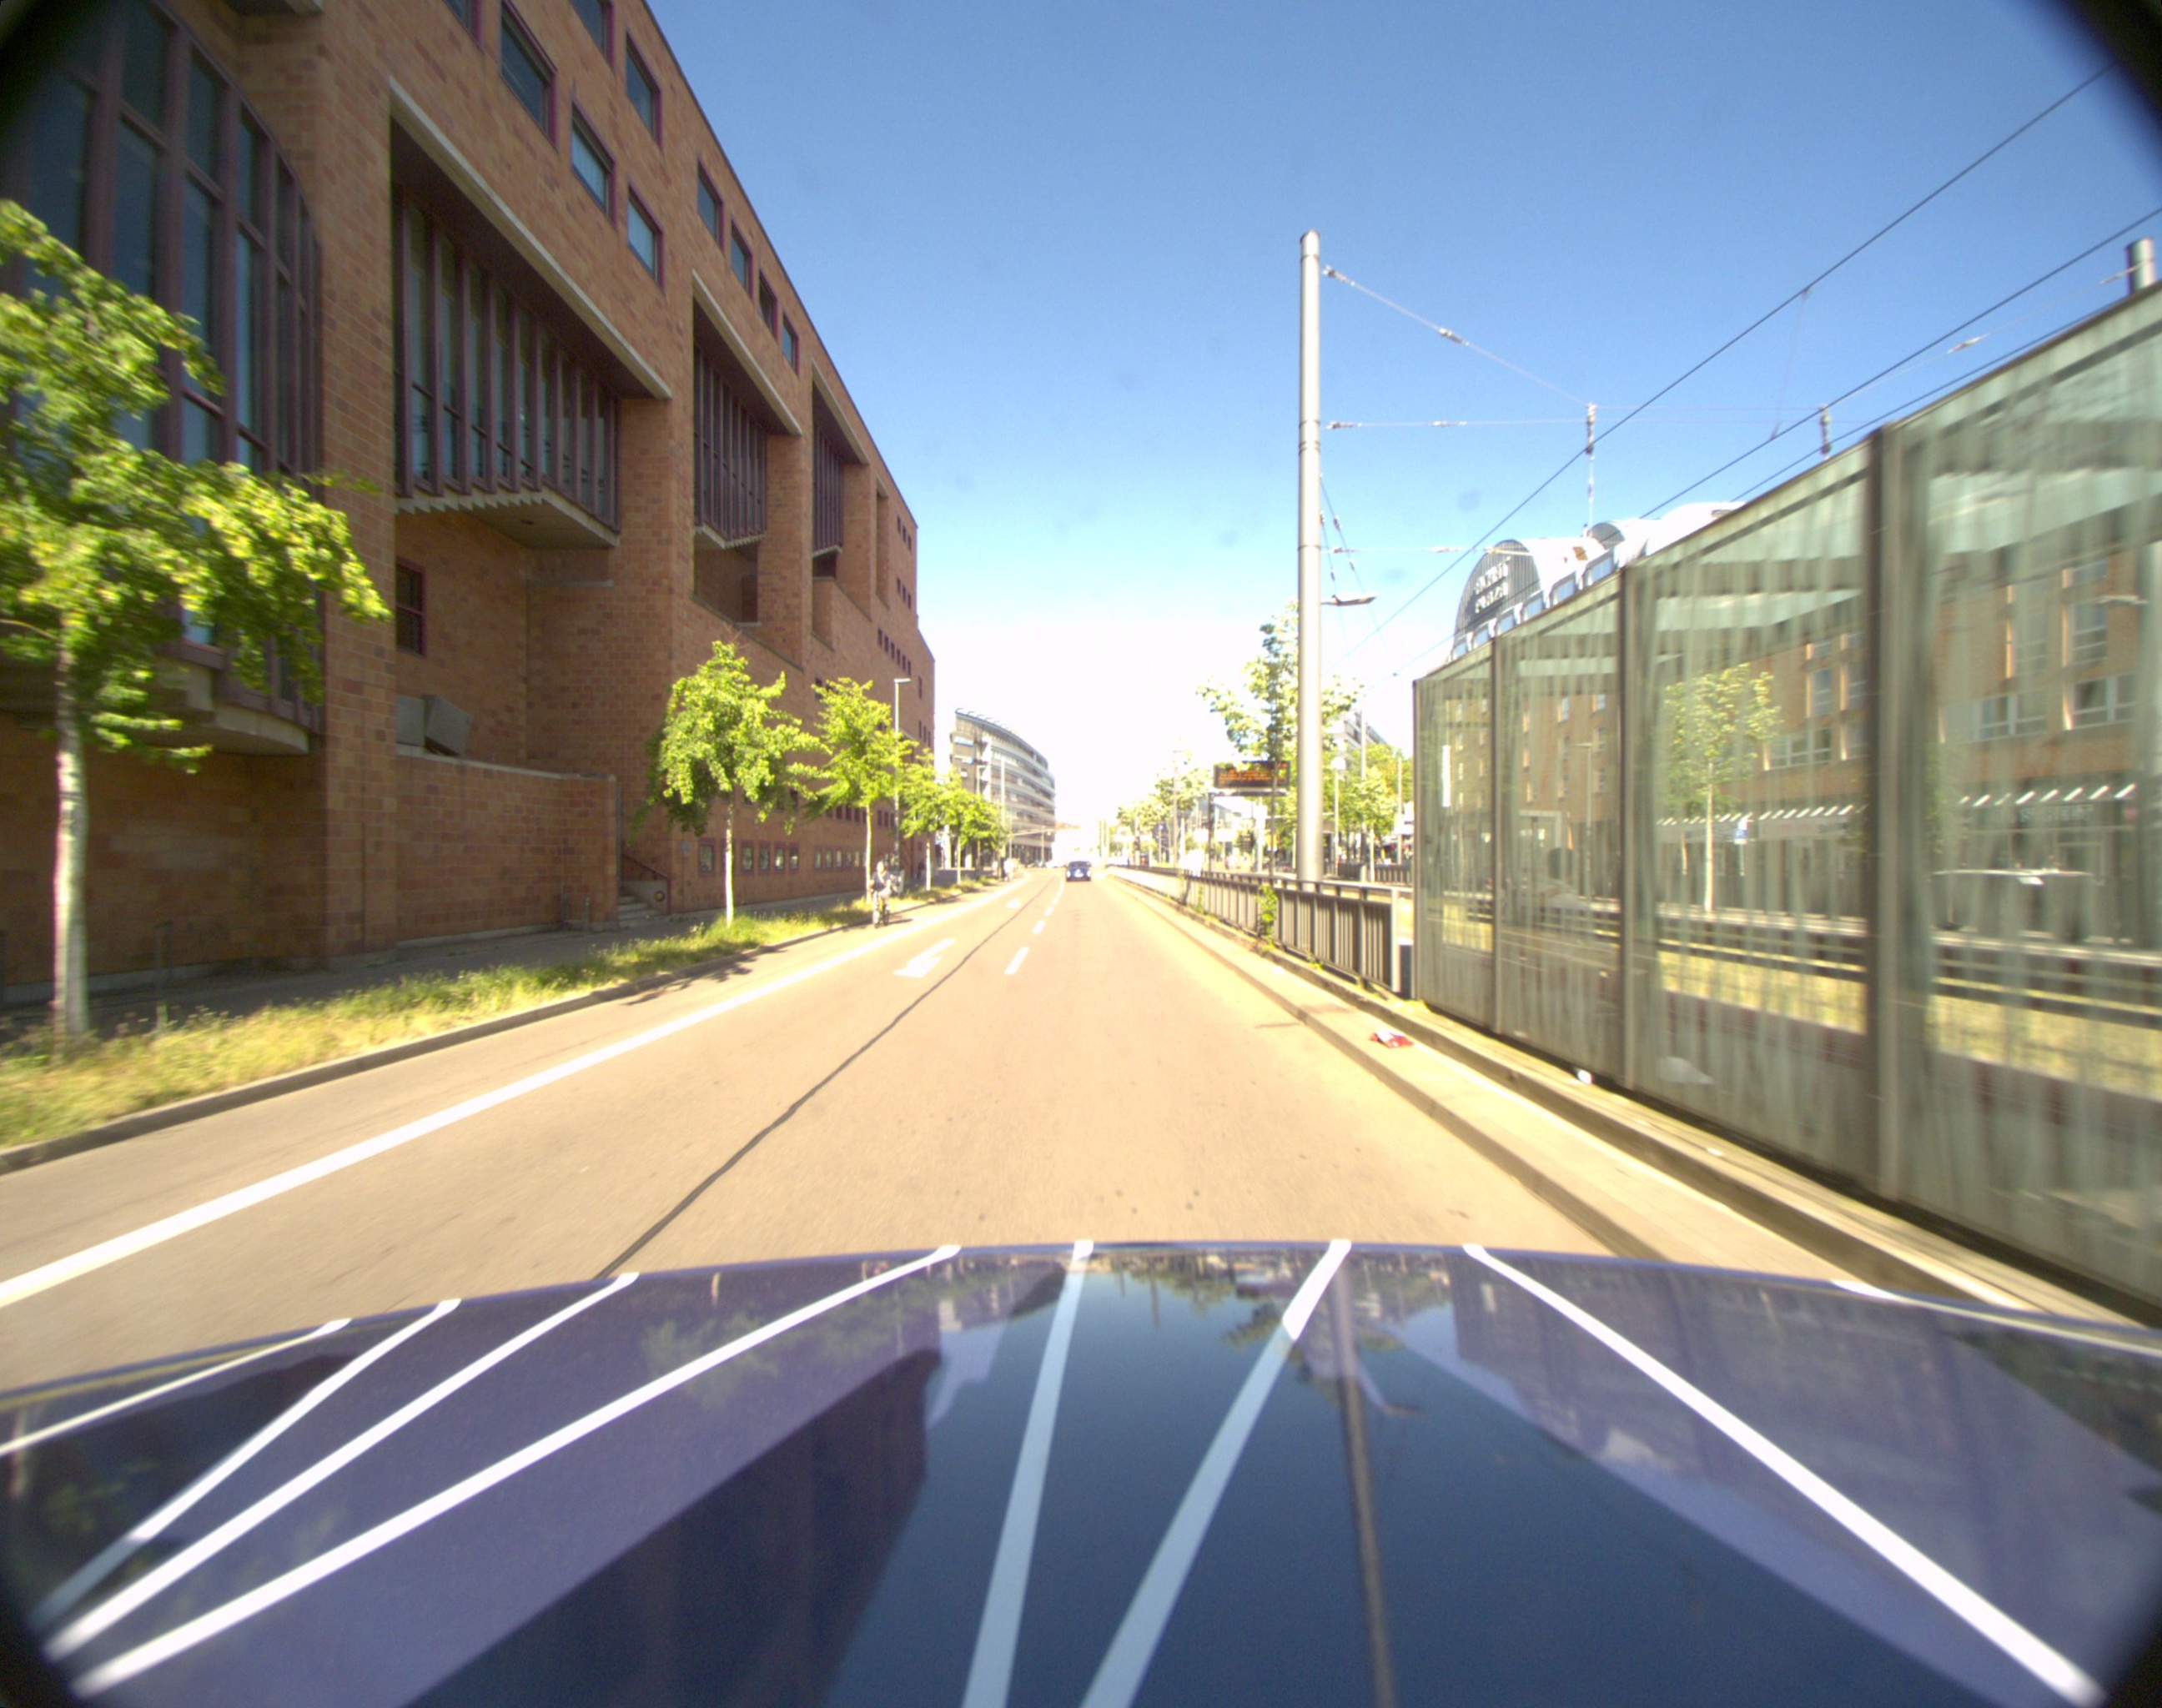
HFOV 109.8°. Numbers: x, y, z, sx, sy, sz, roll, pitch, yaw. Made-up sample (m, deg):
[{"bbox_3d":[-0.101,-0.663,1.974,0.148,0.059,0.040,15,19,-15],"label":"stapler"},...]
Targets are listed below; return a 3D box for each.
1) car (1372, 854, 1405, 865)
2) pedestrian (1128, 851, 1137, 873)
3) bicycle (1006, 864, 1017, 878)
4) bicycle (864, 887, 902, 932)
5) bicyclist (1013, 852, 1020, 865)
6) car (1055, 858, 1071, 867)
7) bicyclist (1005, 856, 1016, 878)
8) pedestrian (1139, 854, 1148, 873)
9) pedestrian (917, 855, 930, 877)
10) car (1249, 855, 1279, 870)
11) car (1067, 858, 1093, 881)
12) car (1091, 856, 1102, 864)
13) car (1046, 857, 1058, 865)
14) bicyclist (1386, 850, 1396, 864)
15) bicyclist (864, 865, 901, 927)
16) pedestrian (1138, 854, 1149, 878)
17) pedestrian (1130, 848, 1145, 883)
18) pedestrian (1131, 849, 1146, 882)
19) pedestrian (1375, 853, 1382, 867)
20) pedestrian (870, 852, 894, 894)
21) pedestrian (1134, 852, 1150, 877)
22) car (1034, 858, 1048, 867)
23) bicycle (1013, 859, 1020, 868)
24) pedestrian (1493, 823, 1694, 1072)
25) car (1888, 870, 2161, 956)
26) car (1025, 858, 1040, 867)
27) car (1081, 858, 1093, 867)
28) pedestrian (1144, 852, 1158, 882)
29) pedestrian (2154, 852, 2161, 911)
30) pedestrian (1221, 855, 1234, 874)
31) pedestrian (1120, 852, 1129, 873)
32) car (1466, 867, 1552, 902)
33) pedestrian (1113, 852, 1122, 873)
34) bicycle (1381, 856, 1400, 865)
[{"bbox_3d":[45.329,0.806,112.003,4.169,1.499,1.910,0,0,3],"label":"car"},{"bbox_3d":[4.236,0.676,62.272,0.649,1.763,0.820,0,1,-3],"label":"pedestrian"},{"bbox_3d":[-5.535,1.332,60.514,0.578,1.090,1.507,-2,0,2],"label":"bicycle"},{"bbox_3d":[-5.077,1.401,19.554,0.559,1.021,1.507,-2,0,0],"label":"bicycle"},{"bbox_3d":[-7.699,0.533,90.615,0.755,1.607,0.762,-2,0,3],"label":"bicyclist"},{"bbox_3d":[-3.223,1.457,136.761,2.120,1.547,4.003,0,0,9],"label":"car"},{"bbox_3d":[-5.568,1.009,60.335,0.684,1.718,0.909,-2,0,3],"label":"bicyclist"},{"bbox_3d":[5.096,0.764,62.244,0.610,1.560,0.908,0,1,-3],"label":"pedestrian"},{"bbox_3d":[-11.707,0.918,56.530,0.790,1.610,0.976,0,1,-2],"label":"pedestrian"},{"bbox_3d":[17.833,0.815,74.324,1.936,1.489,4.289,0,0,1],"label":"car"},{"bbox_3d":[-0.059,1.123,56.549,1.802,1.596,3.999,-2,1,0],"label":"car"},{"bbox_3d":[3.251,1.153,155.632,1.882,1.455,4.001,-2,1,7],"label":"car"},{"bbox_3d":[-5.853,1.452,153.547,1.882,1.455,4.001,-2,1,7],"label":"car"},{"bbox_3d":[35.174,0.307,86.249,0.848,1.630,0.779,0,1,10],"label":"bicyclist"},{"bbox_3d":[-5.103,1.056,19.588,0.659,1.528,0.909,-2,0,0],"label":"bicyclist"},{"bbox_3d":[4.670,0.915,56.966,0.756,1.800,0.840,0,1,-4],"label":"pedestrian"},{"bbox_3d":[3.051,0.596,41.219,0.748,1.873,0.715,0,1,0],"label":"pedestrian"},{"bbox_3d":[3.037,0.605,40.473,0.748,1.738,0.715,0,1,0],"label":"pedestrian"},{"bbox_3d":[35.481,0.689,90.652,0.645,1.696,0.728,0,1,4],"label":"pedestrian"},{"bbox_3d":[-8.962,0.847,34.235,0.790,1.872,1.106,0,1,0],"label":"pedestrian"},{"bbox_3d":[4.382,0.744,54.590,0.994,1.800,1.022,0,1,-4],"label":"pedestrian"},{"bbox_3d":[-7.671,1.597,145.717,1.882,1.455,4.001,-2,1,7],"label":"car"},{"bbox_3d":[-7.703,1.132,90.547,0.578,1.090,1.507,-2,0,3],"label":"bicycle"},{"bbox_3d":[3.362,0.575,5.066,0.814,1.527,0.798,0,0,2],"label":"pedestrian"},{"bbox_3d":[22.844,1.328,18.574,1.998,1.674,3.999,-2,1,0],"label":"car"},{"bbox_3d":[-8.787,1.554,137.906,1.882,1.455,4.001,-2,1,7],"label":"car"},{"bbox_3d":[1.141,1.580,145.418,1.882,1.455,4.002,-2,1,8],"label":"car"},{"bbox_3d":[4.021,0.728,43.725,0.710,1.713,0.752,0,1,-1],"label":"pedestrian"},{"bbox_3d":[34.056,0.856,23.553,0.622,1.829,0.644,0,1,0],"label":"pedestrian"},{"bbox_3d":[12.991,0.898,67.439,0.960,1.680,1.007,0,1,2],"label":"pedestrian"},{"bbox_3d":[3.567,0.693,61.831,0.649,1.733,0.820,0,1,-3],"label":"pedestrian"},{"bbox_3d":[20.742,1.422,37.017,1.883,1.455,3.999,-2,1,-1],"label":"car"},{"bbox_3d":[2.959,0.700,61.646,0.649,1.733,0.820,0,1,-3],"label":"pedestrian"},{"bbox_3d":[35.141,0.733,86.268,1.838,1.093,0.638,0,1,9],"label":"bicycle"}]
